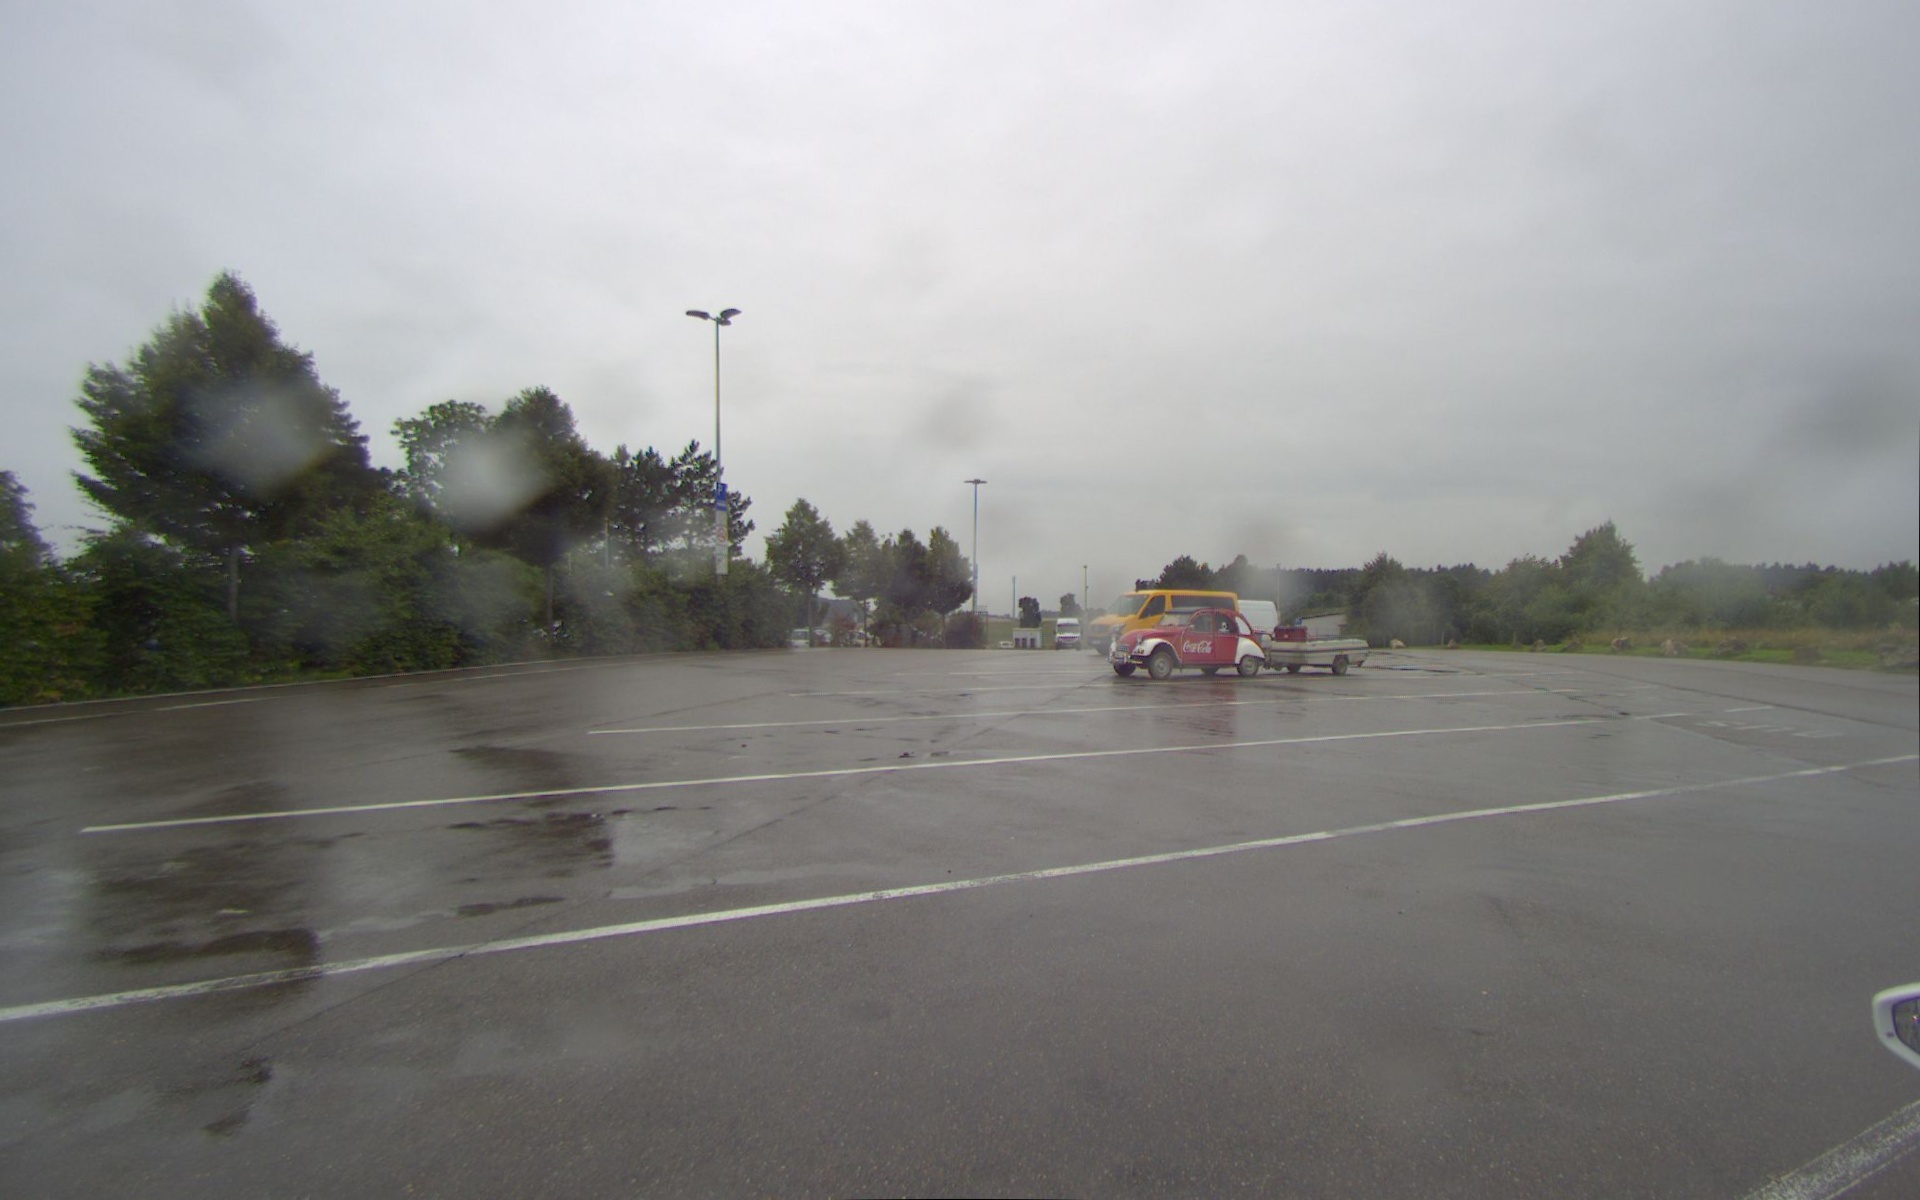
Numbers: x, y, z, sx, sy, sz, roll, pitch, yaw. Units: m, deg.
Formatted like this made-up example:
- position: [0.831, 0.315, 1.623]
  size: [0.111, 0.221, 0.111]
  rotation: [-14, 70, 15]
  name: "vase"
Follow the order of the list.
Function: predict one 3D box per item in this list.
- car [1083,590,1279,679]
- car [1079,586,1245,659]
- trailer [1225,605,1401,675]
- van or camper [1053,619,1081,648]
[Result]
- position: [4.837, 0.758, 21.954]
  size: [3.948, 1.800, 1.816]
  rotation: [1, -2, -27]
  name: "car"
- position: [7.208, 0.864, 35.541]
  size: [5.955, 2.411, 1.985]
  rotation: [2, -3, -30]
  name: "car"
- position: [8.356, 0.919, 23.755]
  size: [3.948, 1.553, 1.689]
  rotation: [0, -2, -27]
  name: "trailer"
- position: [8.364, 2.641, 78.502]
  size: [1.960, 2.195, 4.002]
  rotation: [0, -2, 3]
  name: "van or camper"
